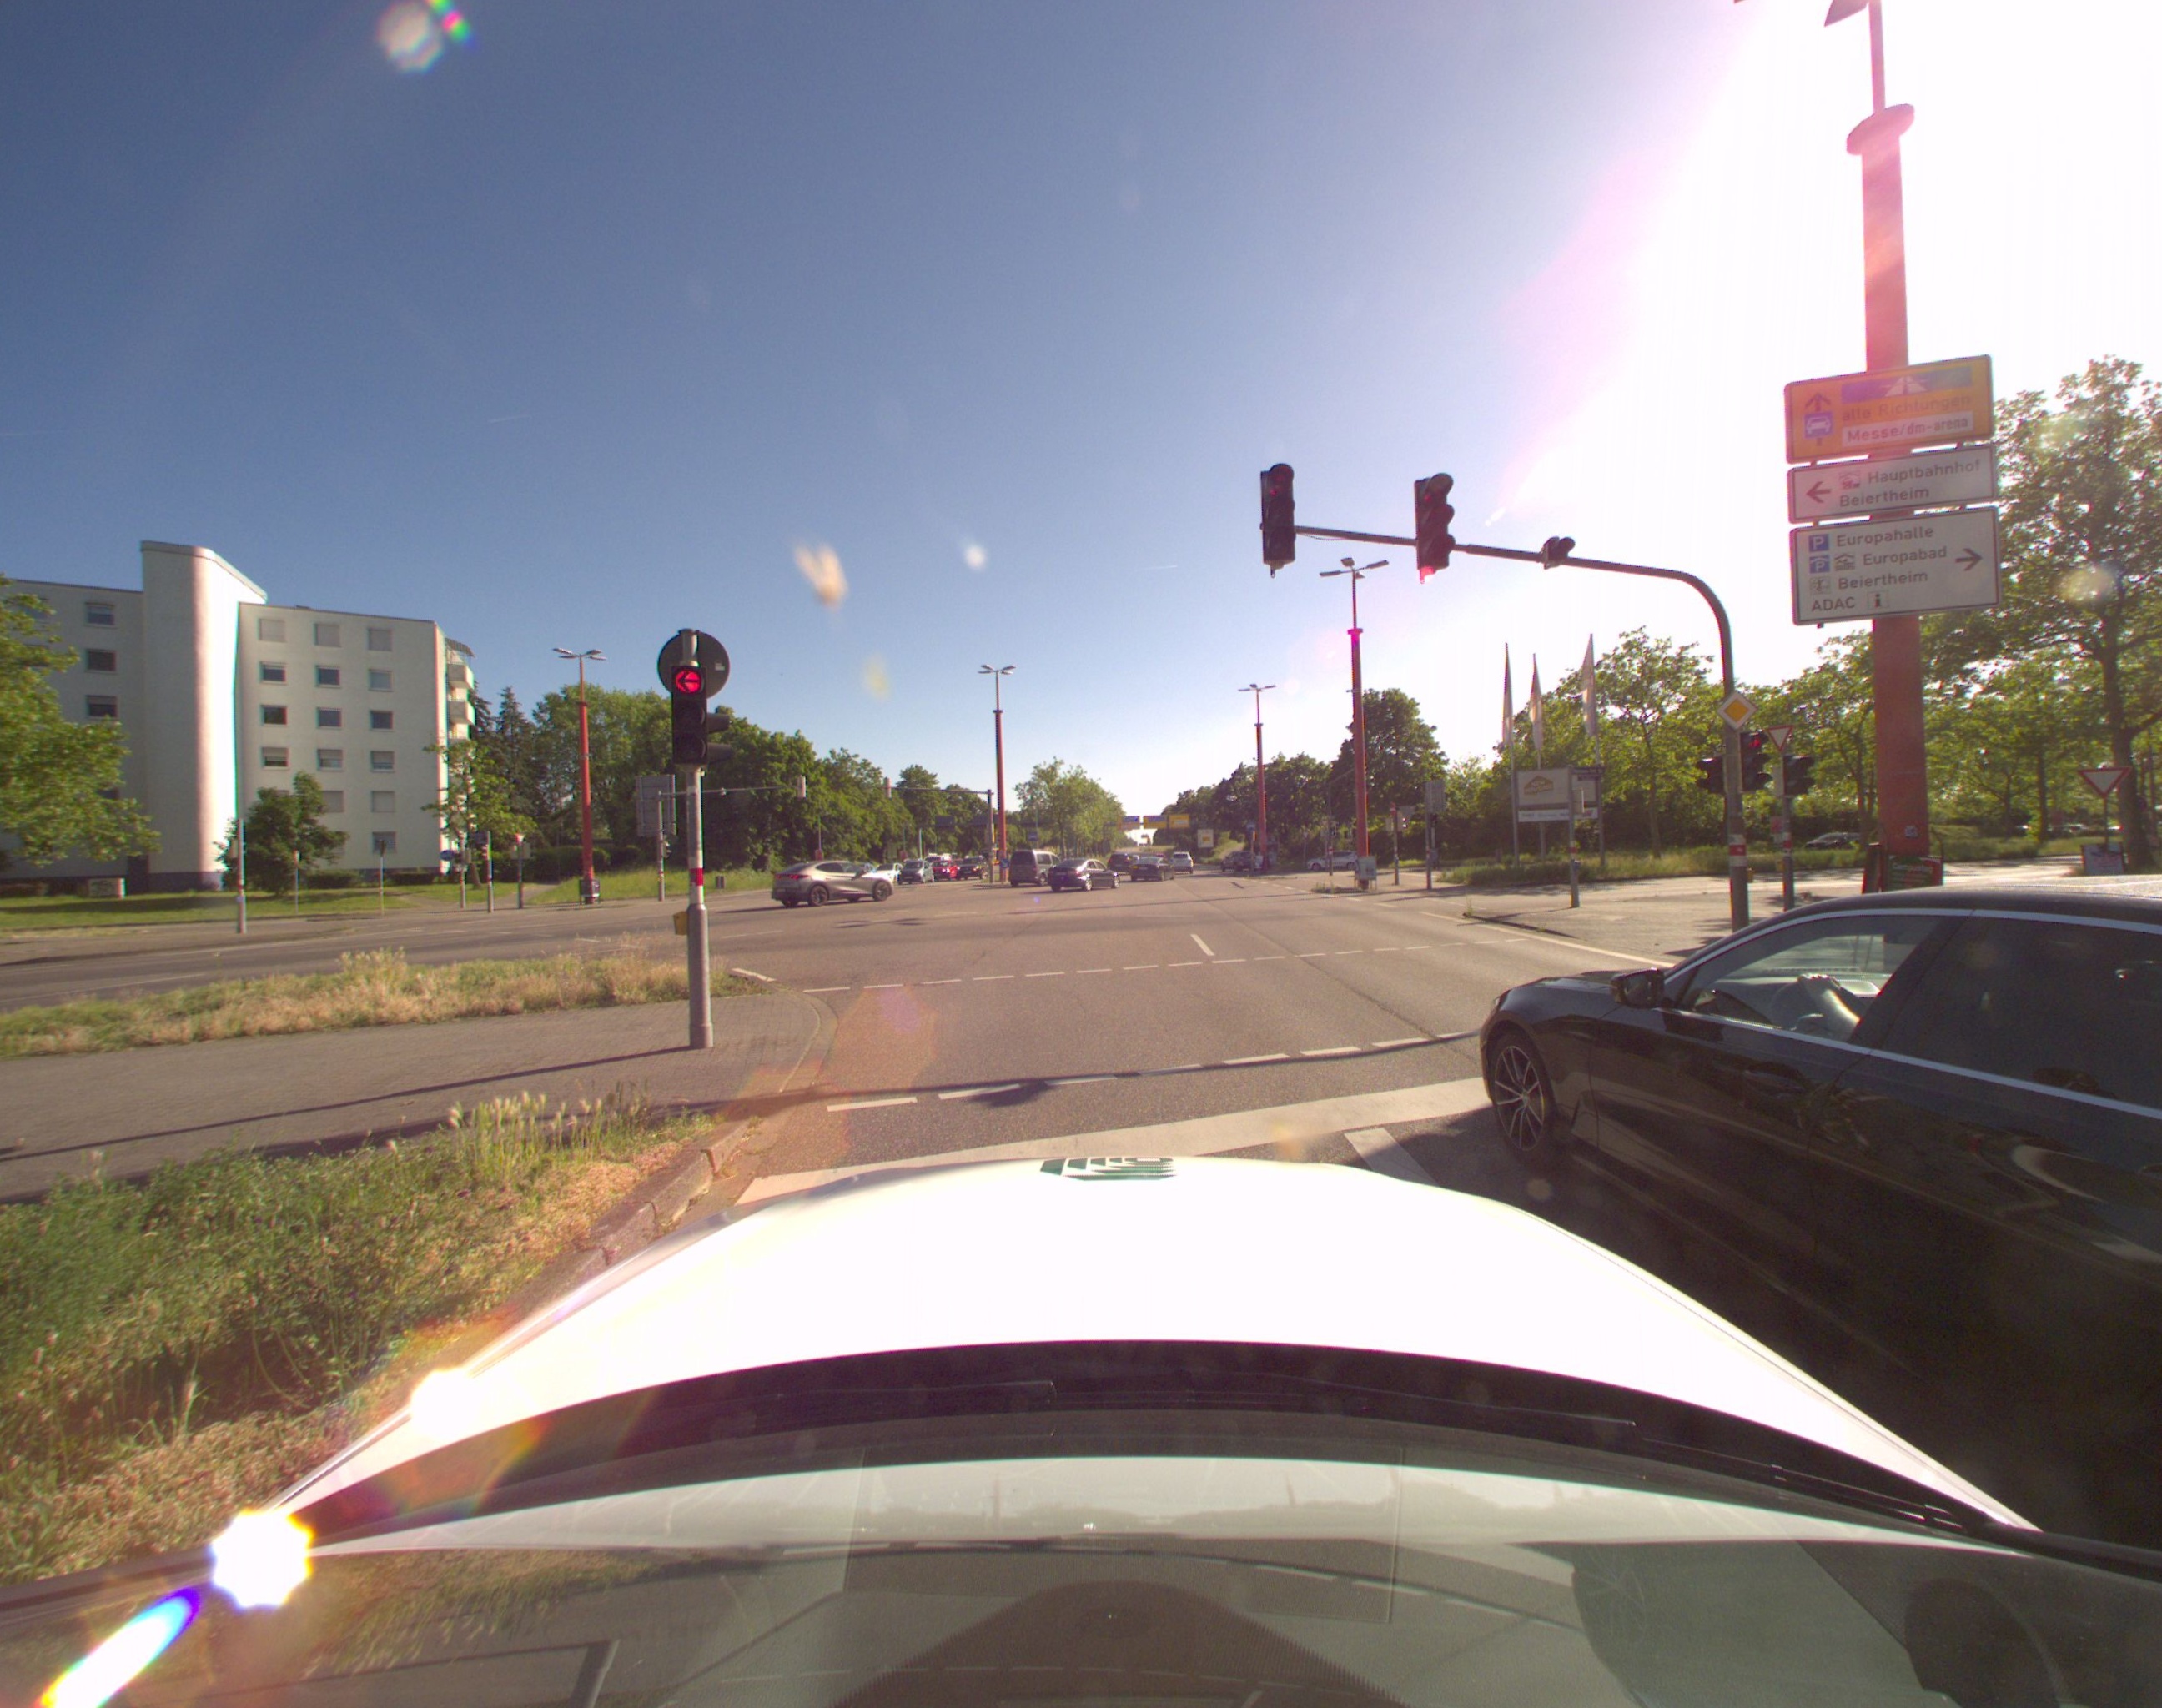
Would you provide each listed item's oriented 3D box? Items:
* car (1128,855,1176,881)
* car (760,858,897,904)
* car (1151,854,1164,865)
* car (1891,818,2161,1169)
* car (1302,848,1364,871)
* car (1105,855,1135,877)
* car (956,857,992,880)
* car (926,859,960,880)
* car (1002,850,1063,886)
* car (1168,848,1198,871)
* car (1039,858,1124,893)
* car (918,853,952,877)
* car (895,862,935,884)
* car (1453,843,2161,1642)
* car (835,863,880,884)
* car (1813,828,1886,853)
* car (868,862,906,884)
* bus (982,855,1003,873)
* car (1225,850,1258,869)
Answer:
[{"bbox_3d":[4.127,0.761,46.651,1.745,1.350,4.384,-2,0,19],"label":"car"},{"bbox_3d":[-9.044,0.935,29.473,1.812,1.422,4.465,-2,0,38],"label":"car"},{"bbox_3d":[10.632,0.736,113.646,1.673,1.435,4.068,-2,0,3],"label":"car"},{"bbox_3d":[5.676,0.602,2.864,1.732,1.578,4.032,-2,0,3],"label":"car"},{"bbox_3d":[18.128,0.397,58.649,3.943,1.467,1.695,-2,0,33],"label":"car"},{"bbox_3d":[2.945,0.851,60.272,1.842,1.545,4.271,-2,0,7],"label":"car"},{"bbox_3d":[-7.380,0.968,56.481,1.812,1.508,4.002,-2,0,2],"label":"car"},{"bbox_3d":[-9.900,1.087,58.667,1.733,1.362,3.613,-2,0,1],"label":"car"},{"bbox_3d":[-2.411,0.678,41.951,1.832,1.708,4.324,-2,0,14],"label":"car"},{"bbox_3d":[7.714,0.421,61.494,1.810,1.636,4.267,-2,0,12],"label":"car"},{"bbox_3d":[0.108,0.893,35.650,1.743,1.350,4.390,-2,0,29],"label":"car"},{"bbox_3d":[-12.652,0.969,70.905,1.886,2.026,5.223,0,-1,1],"label":"car"},{"bbox_3d":[-10.598,1.188,52.308,1.733,1.243,3.613,-2,0,1],"label":"car"},{"bbox_3d":[2.919,0.689,2.376,1.861,1.398,4.448,-2,0,4],"label":"car"},{"bbox_3d":[-14.082,1.212,51.421,1.733,1.243,3.613,-2,0,1],"label":"car"},{"bbox_3d":[54.560,-0.943,57.842,3.991,1.578,1.861,-2,0,-13],"label":"car"},{"bbox_3d":[-13.666,1.319,57.530,1.733,1.411,3.613,-2,0,1],"label":"car"},{"bbox_3d":[-16.719,1.863,154.182,2.482,3.238,10.004,-2,0,2],"label":"bus"},{"bbox_3d":[13.205,0.421,67.190,1.775,1.485,4.326,-2,0,-2],"label":"car"}]
